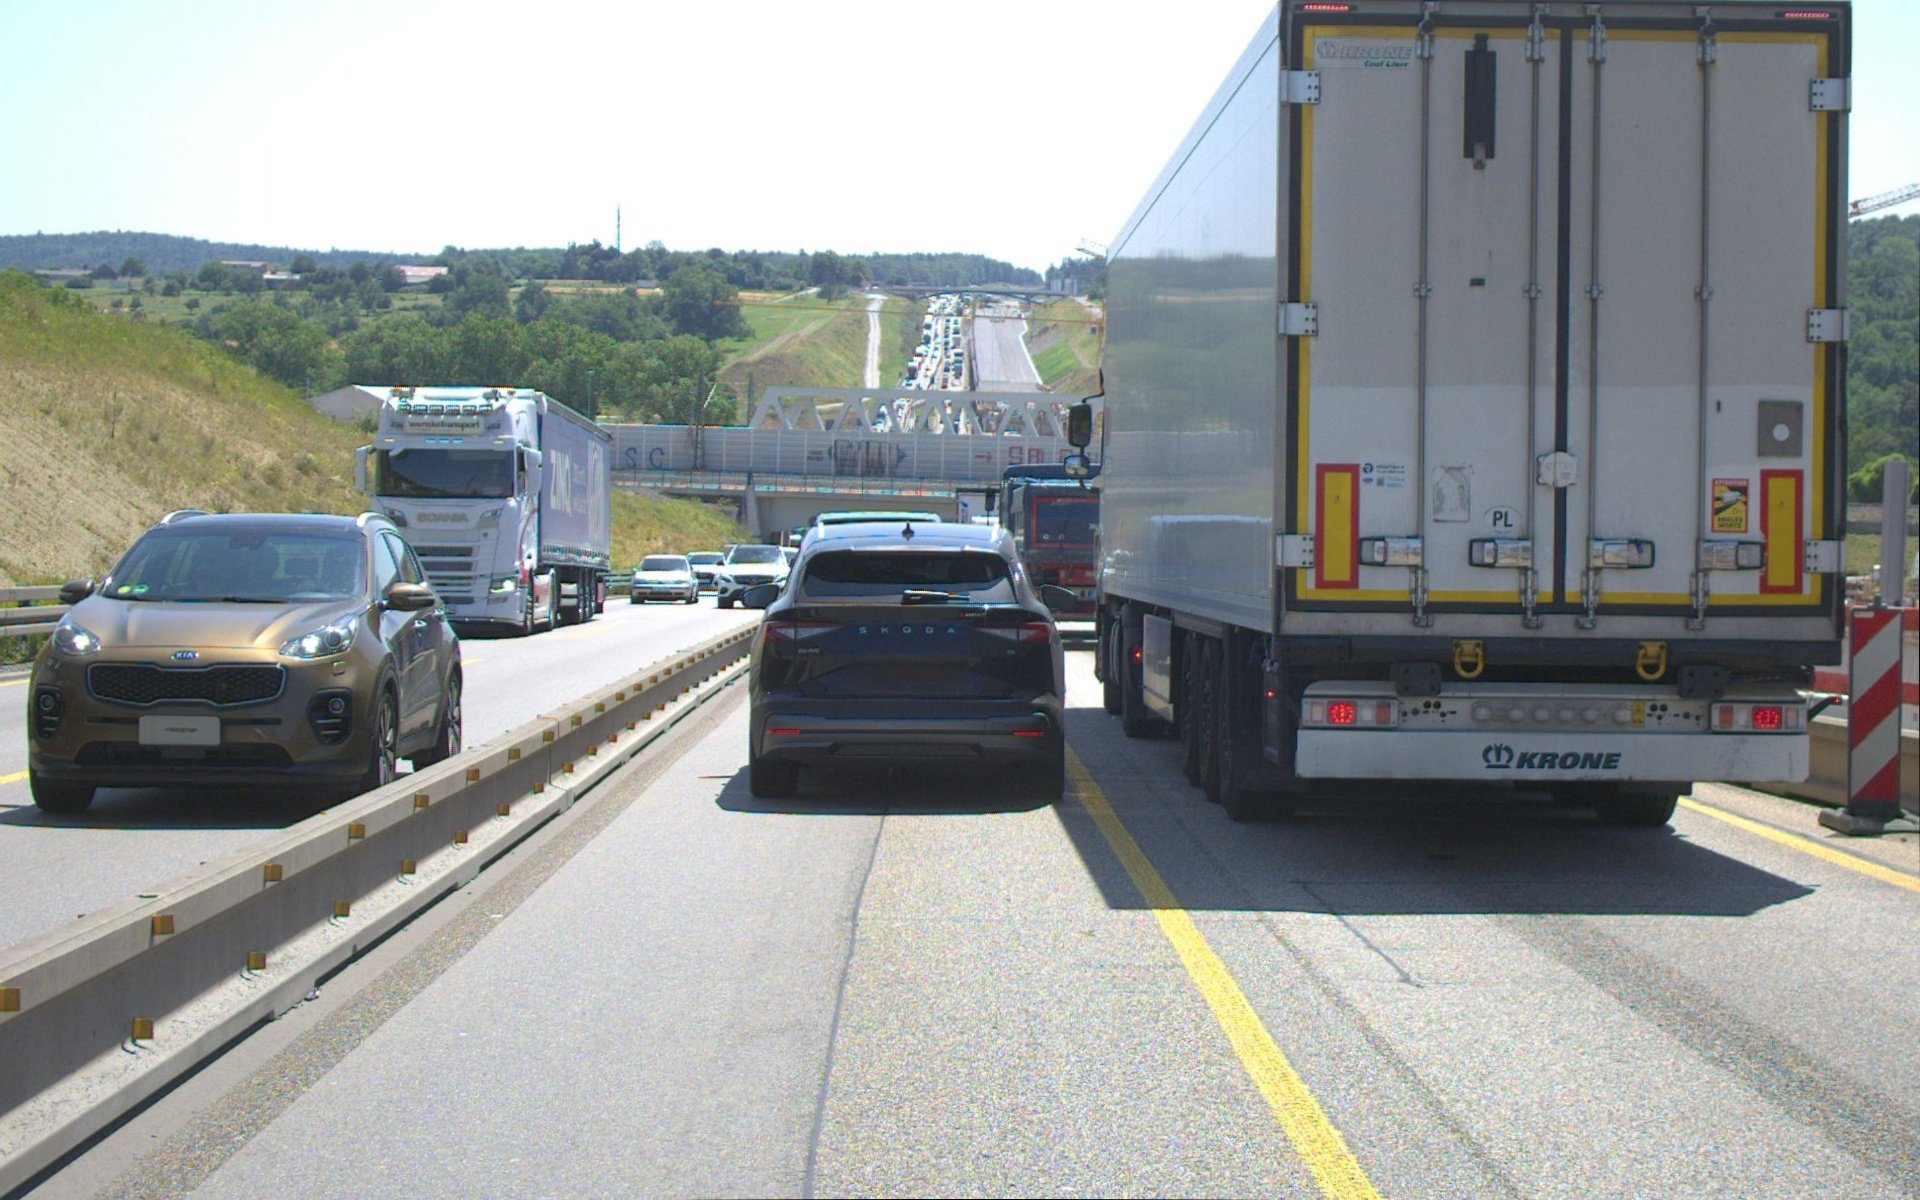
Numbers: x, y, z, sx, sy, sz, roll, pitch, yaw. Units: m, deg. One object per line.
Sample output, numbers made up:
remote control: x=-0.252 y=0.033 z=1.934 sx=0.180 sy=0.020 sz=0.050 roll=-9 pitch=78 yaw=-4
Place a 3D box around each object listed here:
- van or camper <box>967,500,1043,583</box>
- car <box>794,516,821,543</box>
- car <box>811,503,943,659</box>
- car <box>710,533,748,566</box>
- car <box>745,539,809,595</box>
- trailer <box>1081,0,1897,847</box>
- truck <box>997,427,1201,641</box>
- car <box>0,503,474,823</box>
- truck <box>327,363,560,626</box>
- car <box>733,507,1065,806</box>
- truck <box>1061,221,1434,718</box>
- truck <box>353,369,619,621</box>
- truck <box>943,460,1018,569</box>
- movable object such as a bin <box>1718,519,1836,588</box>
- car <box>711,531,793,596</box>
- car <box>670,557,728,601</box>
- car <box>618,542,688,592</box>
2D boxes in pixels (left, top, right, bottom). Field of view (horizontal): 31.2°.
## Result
van or camper: x=1.244 y=-1.664 z=97.223 sx=1.993 sy=2.237 sz=4.000 roll=2 pitch=1 yaw=0
car: x=-10.443 y=-4.805 z=235.324 sx=1.732 sy=1.787 sz=3.581 roll=1 pitch=1 yaw=-1
car: x=-0.970 y=-0.258 z=41.336 sx=1.475 sy=1.789 sz=3.298 roll=1 pitch=1 yaw=0
car: x=-10.209 y=-2.233 z=152.229 sx=1.646 sy=1.411 sz=4.001 roll=0 pitch=1 yaw=-3
car: x=-5.763 y=-1.046 z=108.703 sx=1.891 sy=1.702 sz=4.562 roll=1 pitch=1 yaw=-1
trailer: x=2.612 y=-1.000 z=22.382 sx=2.801 sy=4.044 sz=14.118 roll=0 pitch=1 yaw=-1
truck: x=2.112 y=-1.045 z=56.938 sx=2.814 sy=3.124 sz=12.838 roll=1 pitch=1 yaw=0
car: x=-3.930 y=0.275 z=19.369 sx=1.848 sy=1.581 sz=4.174 roll=1 pitch=1 yaw=-1
truck: x=-8.423 y=-1.705 z=56.573 sx=3.239 sy=4.145 sz=4.248 roll=1 pitch=1 yaw=-1
car: x=-0.354 y=0.271 z=20.573 sx=1.800 sy=1.615 sz=3.298 roll=1 pitch=1 yaw=-1
truck: x=2.433 y=-1.092 z=30.646 sx=2.776 sy=4.044 sz=4.905 roll=0 pitch=0 yaw=-1
truck: x=-8.559 y=-1.855 z=63.998 sx=3.243 sy=4.145 sz=13.979 roll=1 pitch=1 yaw=-1
truck: x=0.730 y=-3.261 z=131.140 sx=2.517 sy=3.946 sz=7.600 roll=2 pitch=1 yaw=-1
movable object such as a bin: x=35.859 y=-2.062 z=151.251 sx=2.887 sy=2.899 sz=9.479 roll=1 pitch=1 yaw=0
car: x=-5.335 y=-0.955 z=88.641 sx=1.812 sy=1.632 sz=4.362 roll=0 pitch=1 yaw=0
car: x=-9.626 y=-0.792 z=126.935 sx=1.899 sy=1.579 sz=4.515 roll=1 pitch=1 yaw=-1
car: x=-8.682 y=-0.952 z=97.510 sx=1.701 sy=1.374 sz=3.967 roll=1 pitch=1 yaw=-1
